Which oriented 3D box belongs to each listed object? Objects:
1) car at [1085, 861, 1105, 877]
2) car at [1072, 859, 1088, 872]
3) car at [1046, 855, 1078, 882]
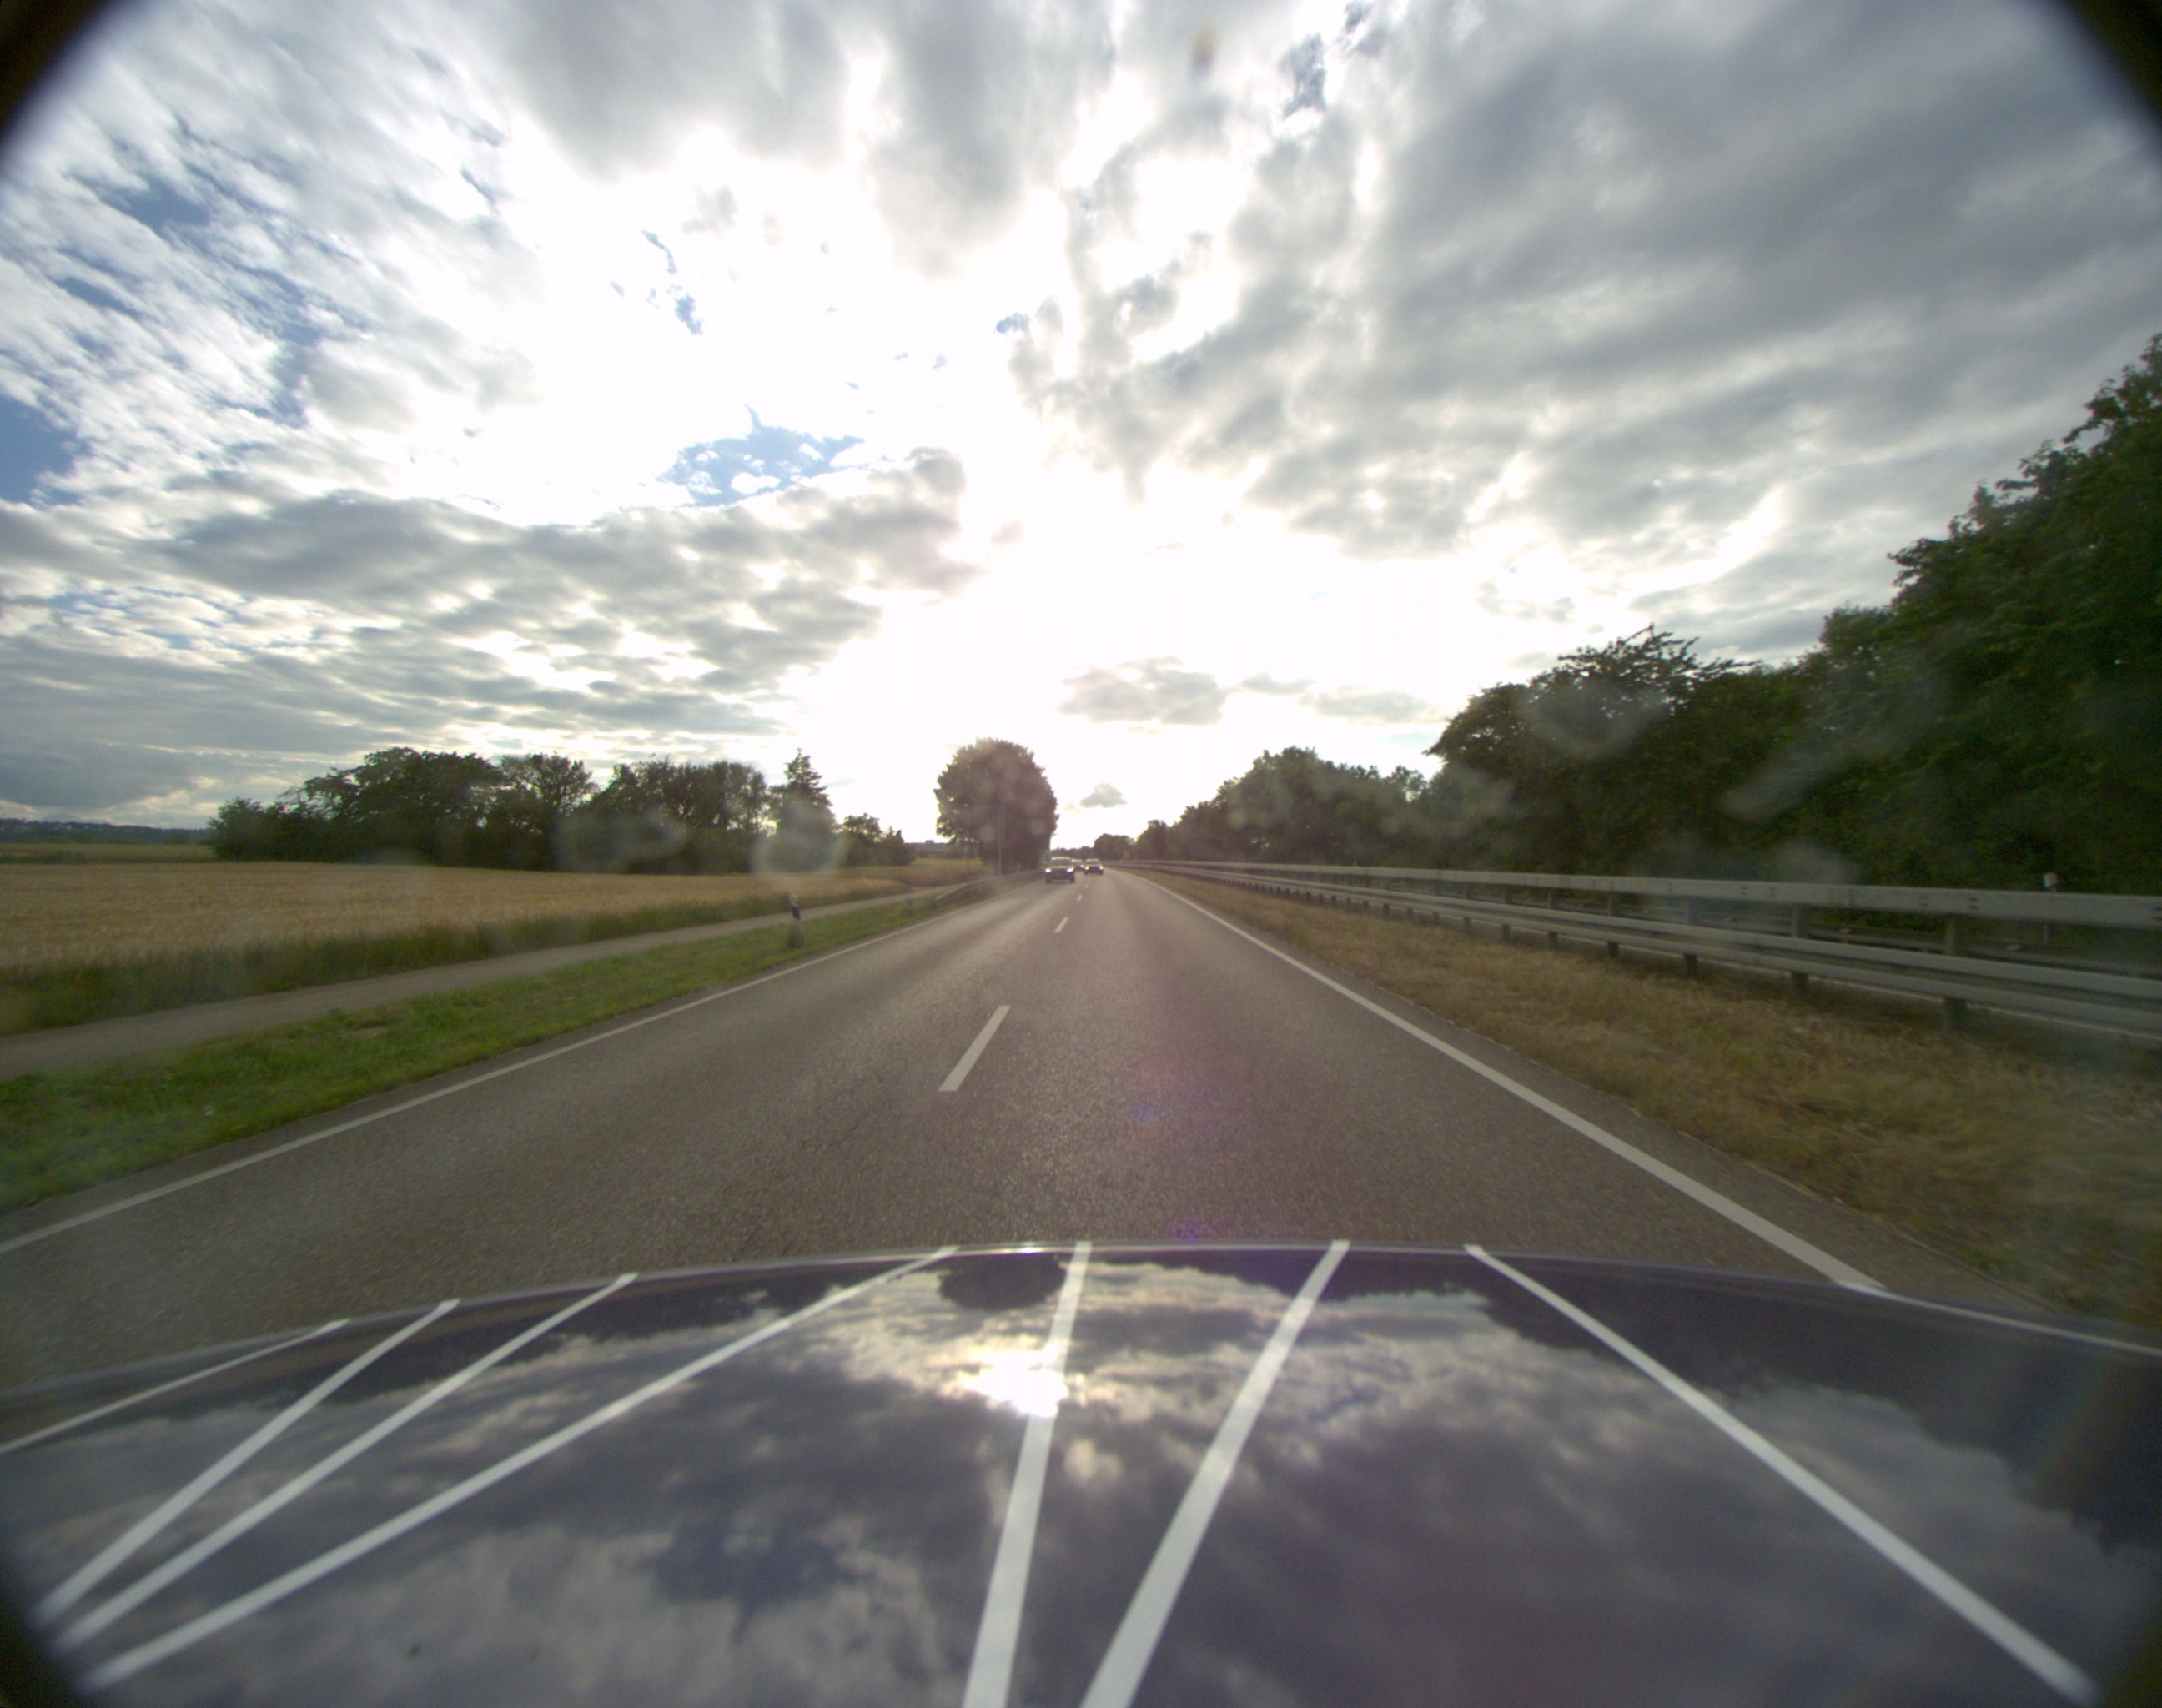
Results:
[{"bbox_3d":[1.253,1.355,70.872,1.775,1.389,4.000,-2,0,0],"label":"car"},{"bbox_3d":[-0.087,1.391,91.986,1.823,1.409,4.000,-2,0,0],"label":"car"},{"bbox_3d":[-1.194,0.902,50.101,1.863,1.636,4.000,-2,0,1],"label":"car"}]
